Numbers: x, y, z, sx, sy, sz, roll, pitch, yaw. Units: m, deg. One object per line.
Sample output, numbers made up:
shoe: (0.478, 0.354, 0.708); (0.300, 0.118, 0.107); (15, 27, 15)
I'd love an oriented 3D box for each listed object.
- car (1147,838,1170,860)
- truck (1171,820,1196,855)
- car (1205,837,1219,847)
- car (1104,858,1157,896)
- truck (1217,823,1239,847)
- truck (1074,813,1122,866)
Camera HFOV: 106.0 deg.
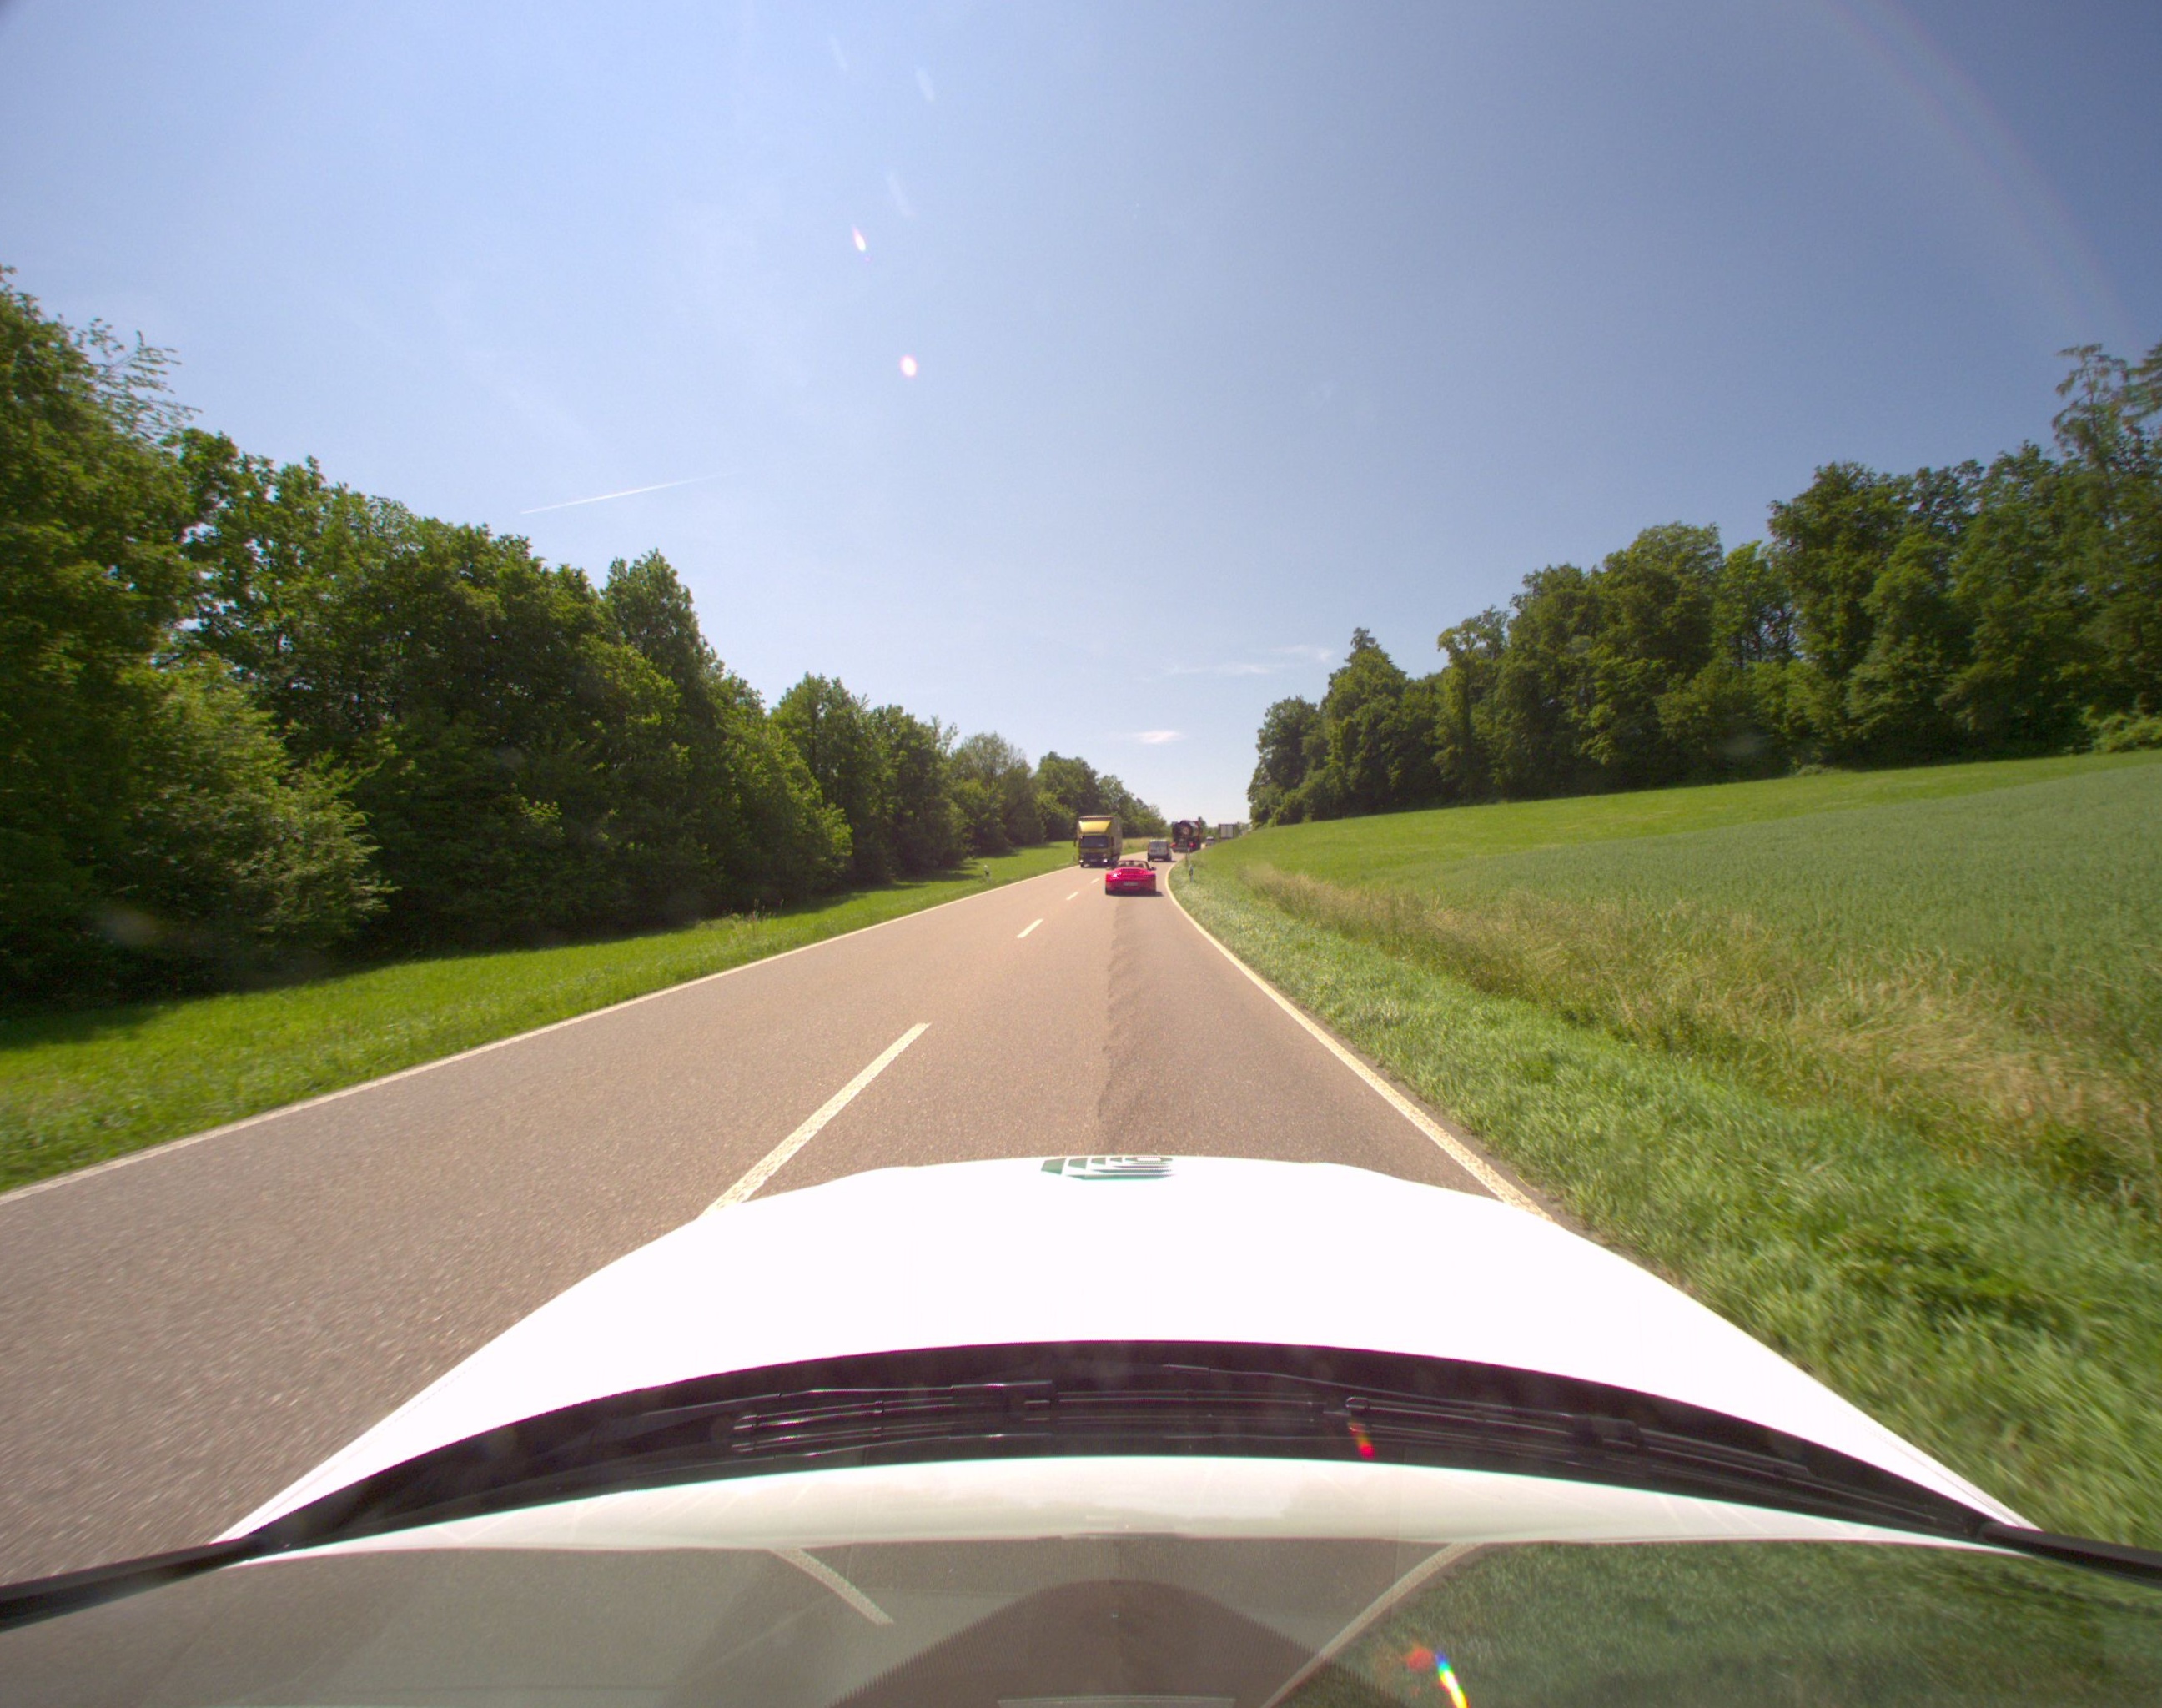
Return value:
car: (6.902, -0.484, 72.302); (1.668, 1.900, 4.020); (-1, 1, 9)
truck: (13.021, -2.110, 102.408); (2.389, 4.049, 12.586); (-3, 1, 10)
car: (21.825, -2.045, 135.511); (1.817, 1.513, 4.208); (-1, 1, 15)
car: (1.833, 0.822, 30.736); (1.875, 1.255, 4.012); (-1, 1, 2)
truck: (30.292, -3.880, 167.349); (3.699, 4.660, 12.075); (-1, 1, 13)
truck: (1.415, -1.064, 61.953); (2.716, 3.690, 8.563); (-1, 0, 7)
